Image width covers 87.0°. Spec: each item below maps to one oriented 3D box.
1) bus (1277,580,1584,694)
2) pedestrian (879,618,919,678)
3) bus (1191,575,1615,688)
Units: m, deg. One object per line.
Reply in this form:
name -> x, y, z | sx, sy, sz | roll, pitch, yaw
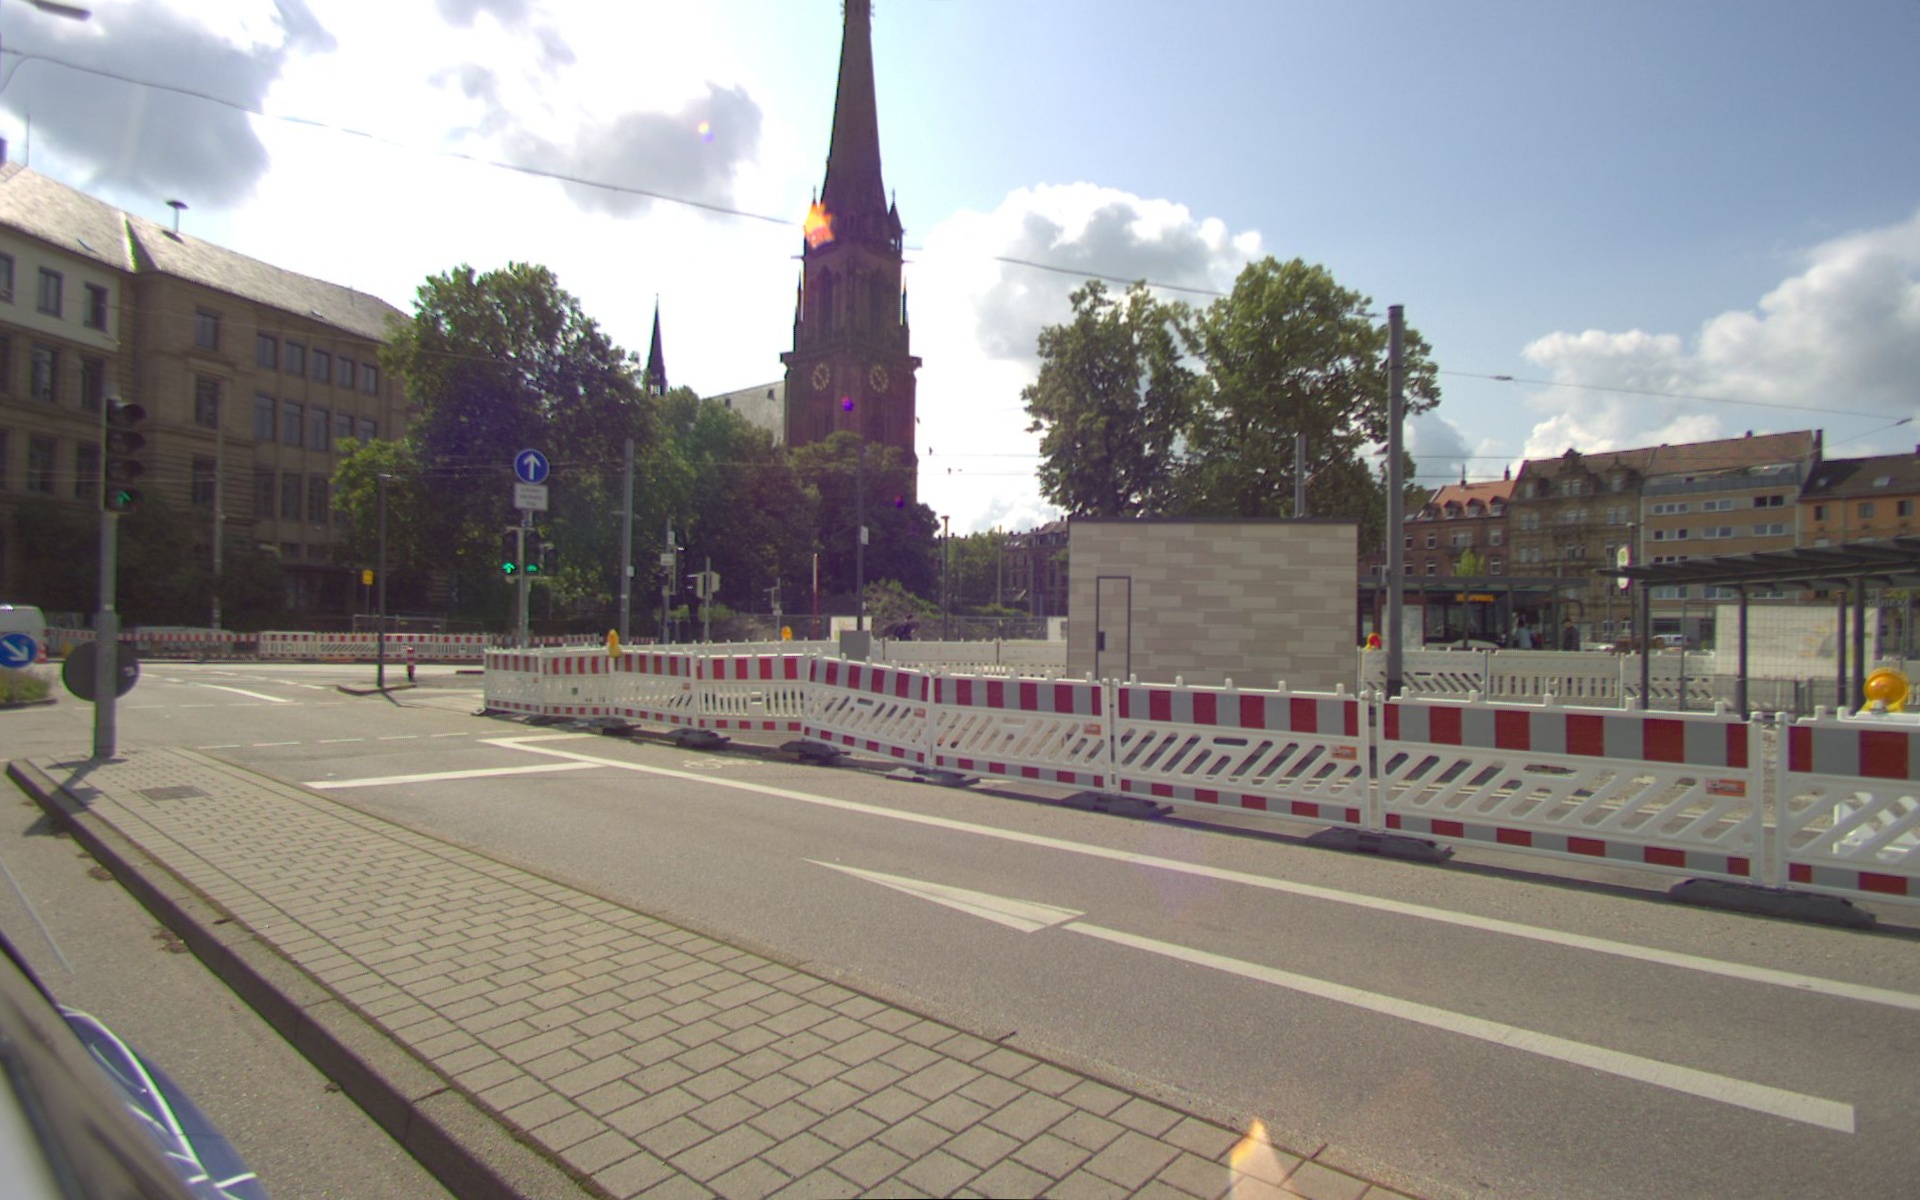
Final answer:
bus -> 13.424, 1.051, 29.416 | 7.670, 3.081, 2.369 | 0, -2, 7
pedestrian -> -1.787, 1.390, 29.613 | 0.834, 1.719, 1.202 | 0, -2, 14
bus -> 13.629, 0.978, 32.198 | 11.930, 3.287, 2.987 | 0, -2, 7
